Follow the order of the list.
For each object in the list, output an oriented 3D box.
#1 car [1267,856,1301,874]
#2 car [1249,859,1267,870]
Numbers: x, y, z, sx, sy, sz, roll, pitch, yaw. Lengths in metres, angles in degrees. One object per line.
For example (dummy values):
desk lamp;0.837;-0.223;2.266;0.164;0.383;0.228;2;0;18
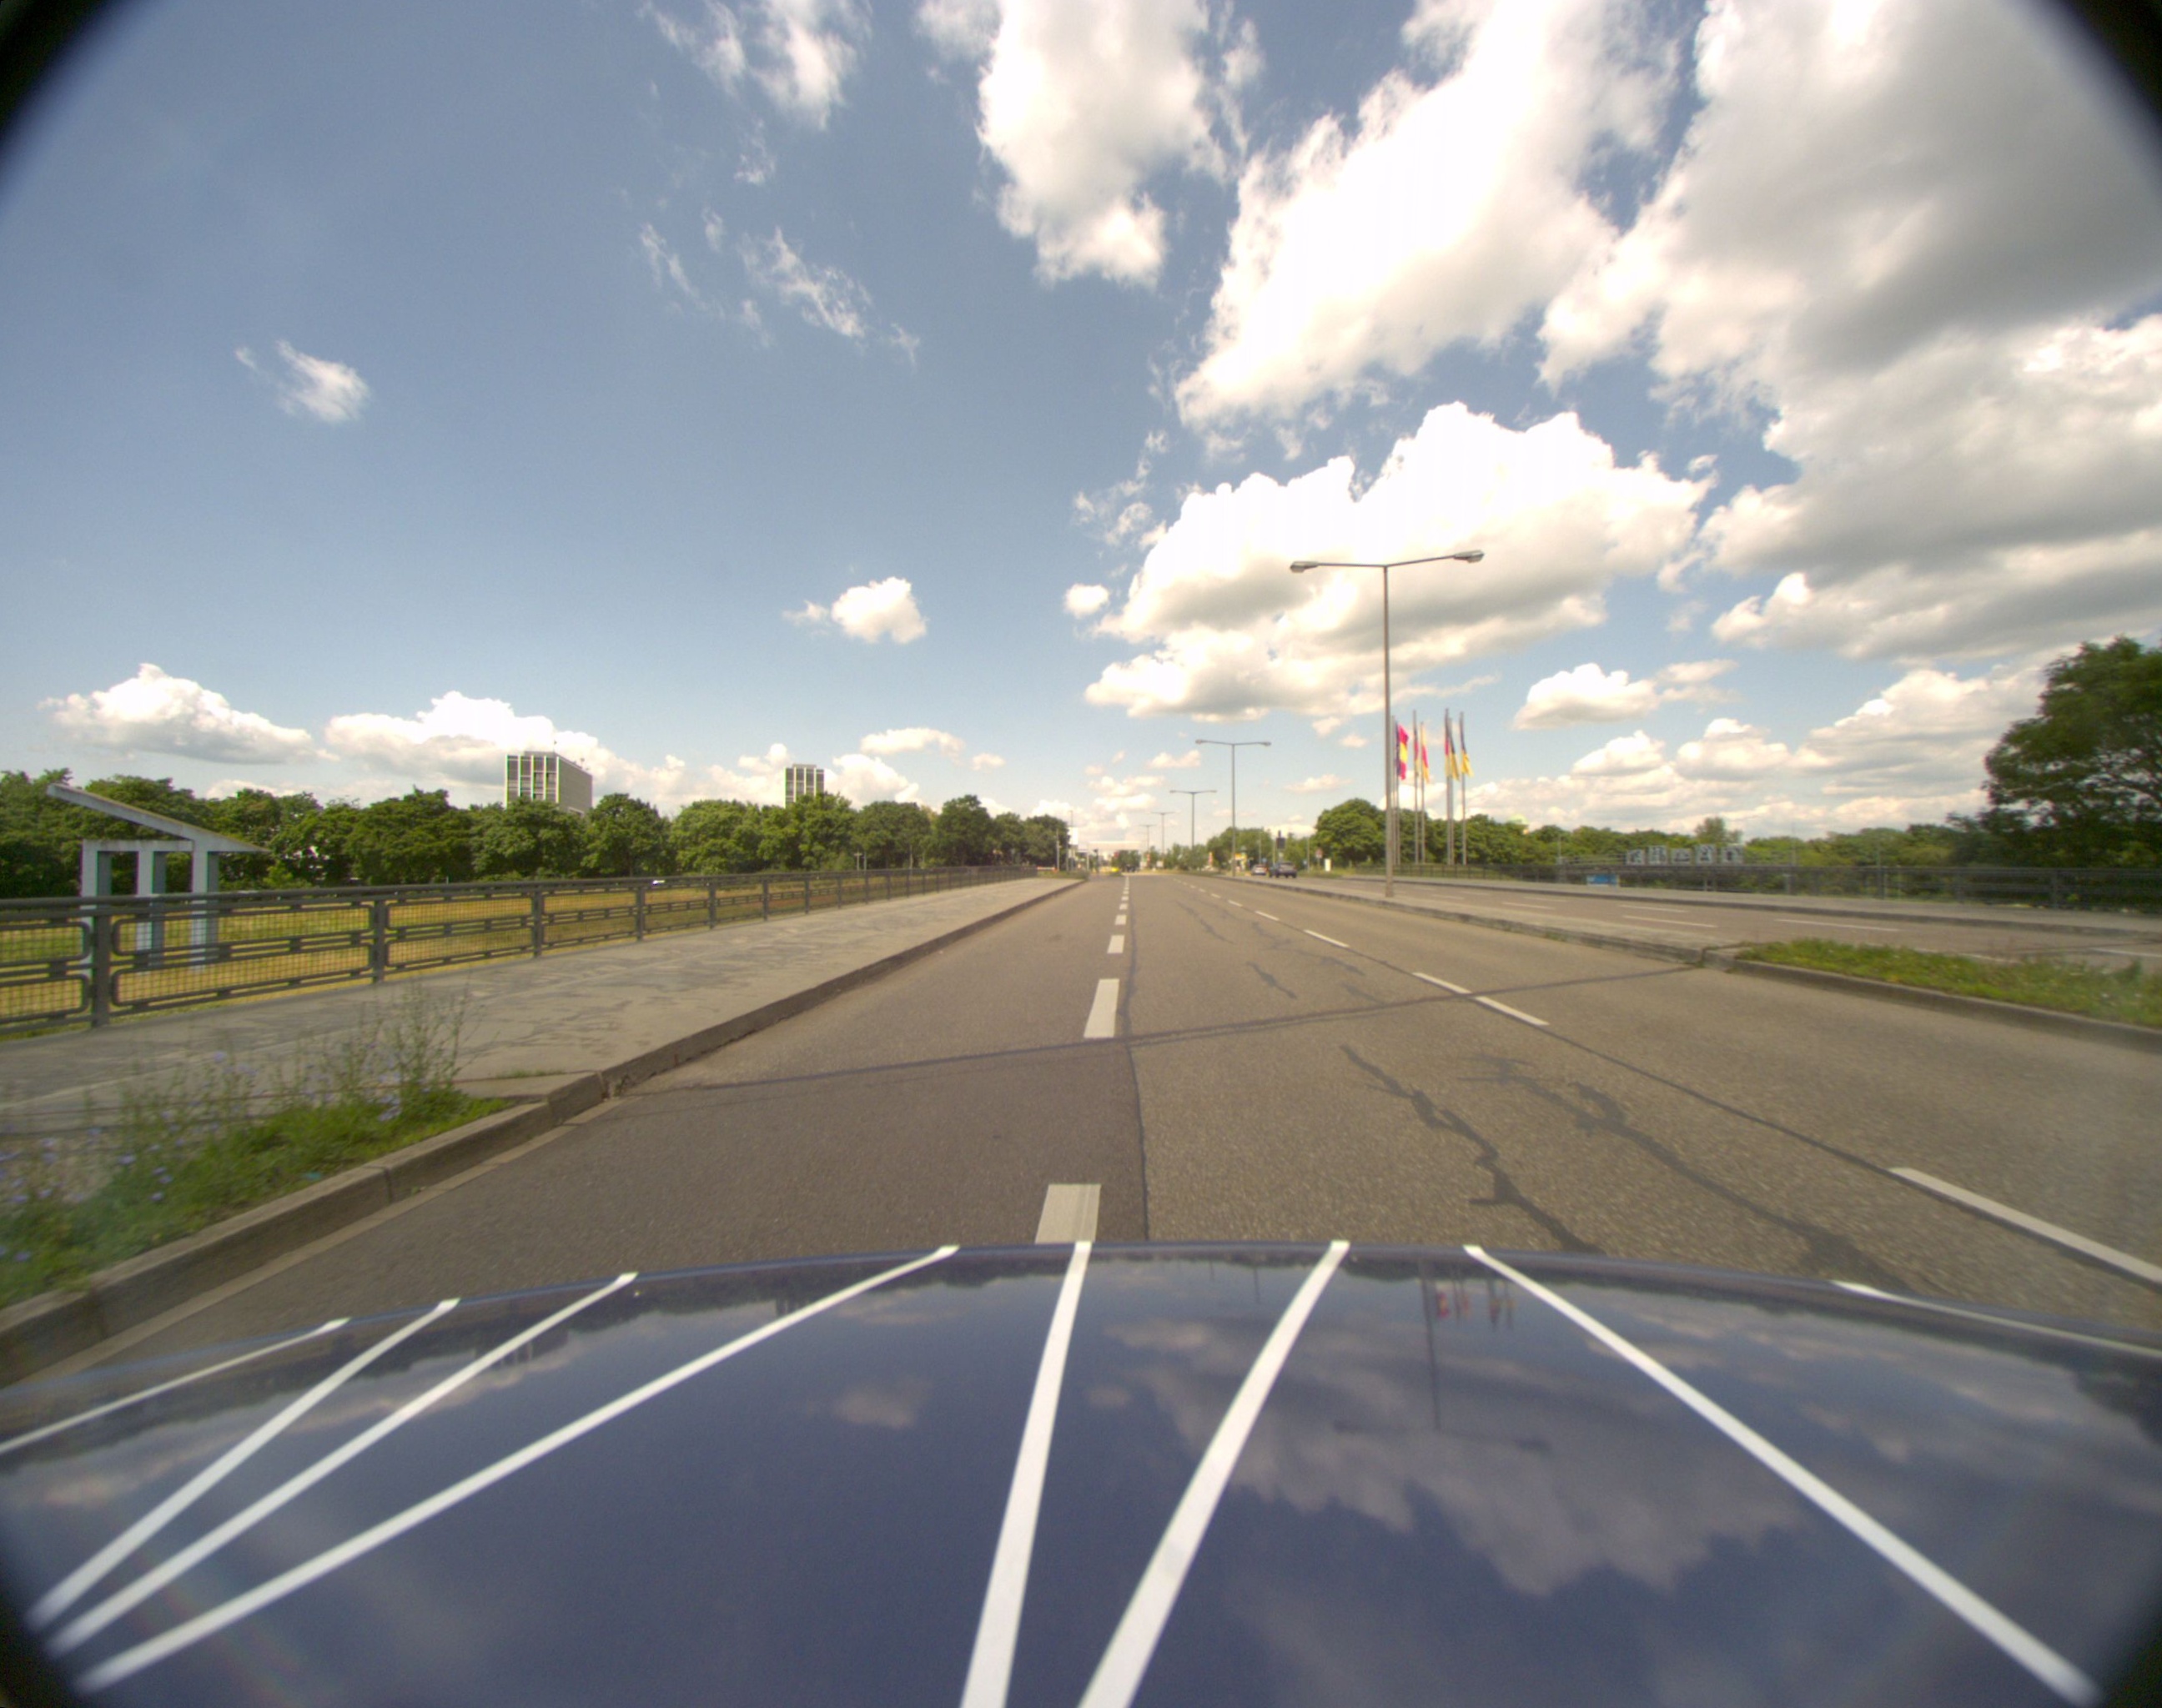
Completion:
car;19.816;1.066;74.276;2.093;1.616;4.551;3;-1;1
car;24.015;1.465;103.306;1.667;1.405;4.552;2;-1;5
